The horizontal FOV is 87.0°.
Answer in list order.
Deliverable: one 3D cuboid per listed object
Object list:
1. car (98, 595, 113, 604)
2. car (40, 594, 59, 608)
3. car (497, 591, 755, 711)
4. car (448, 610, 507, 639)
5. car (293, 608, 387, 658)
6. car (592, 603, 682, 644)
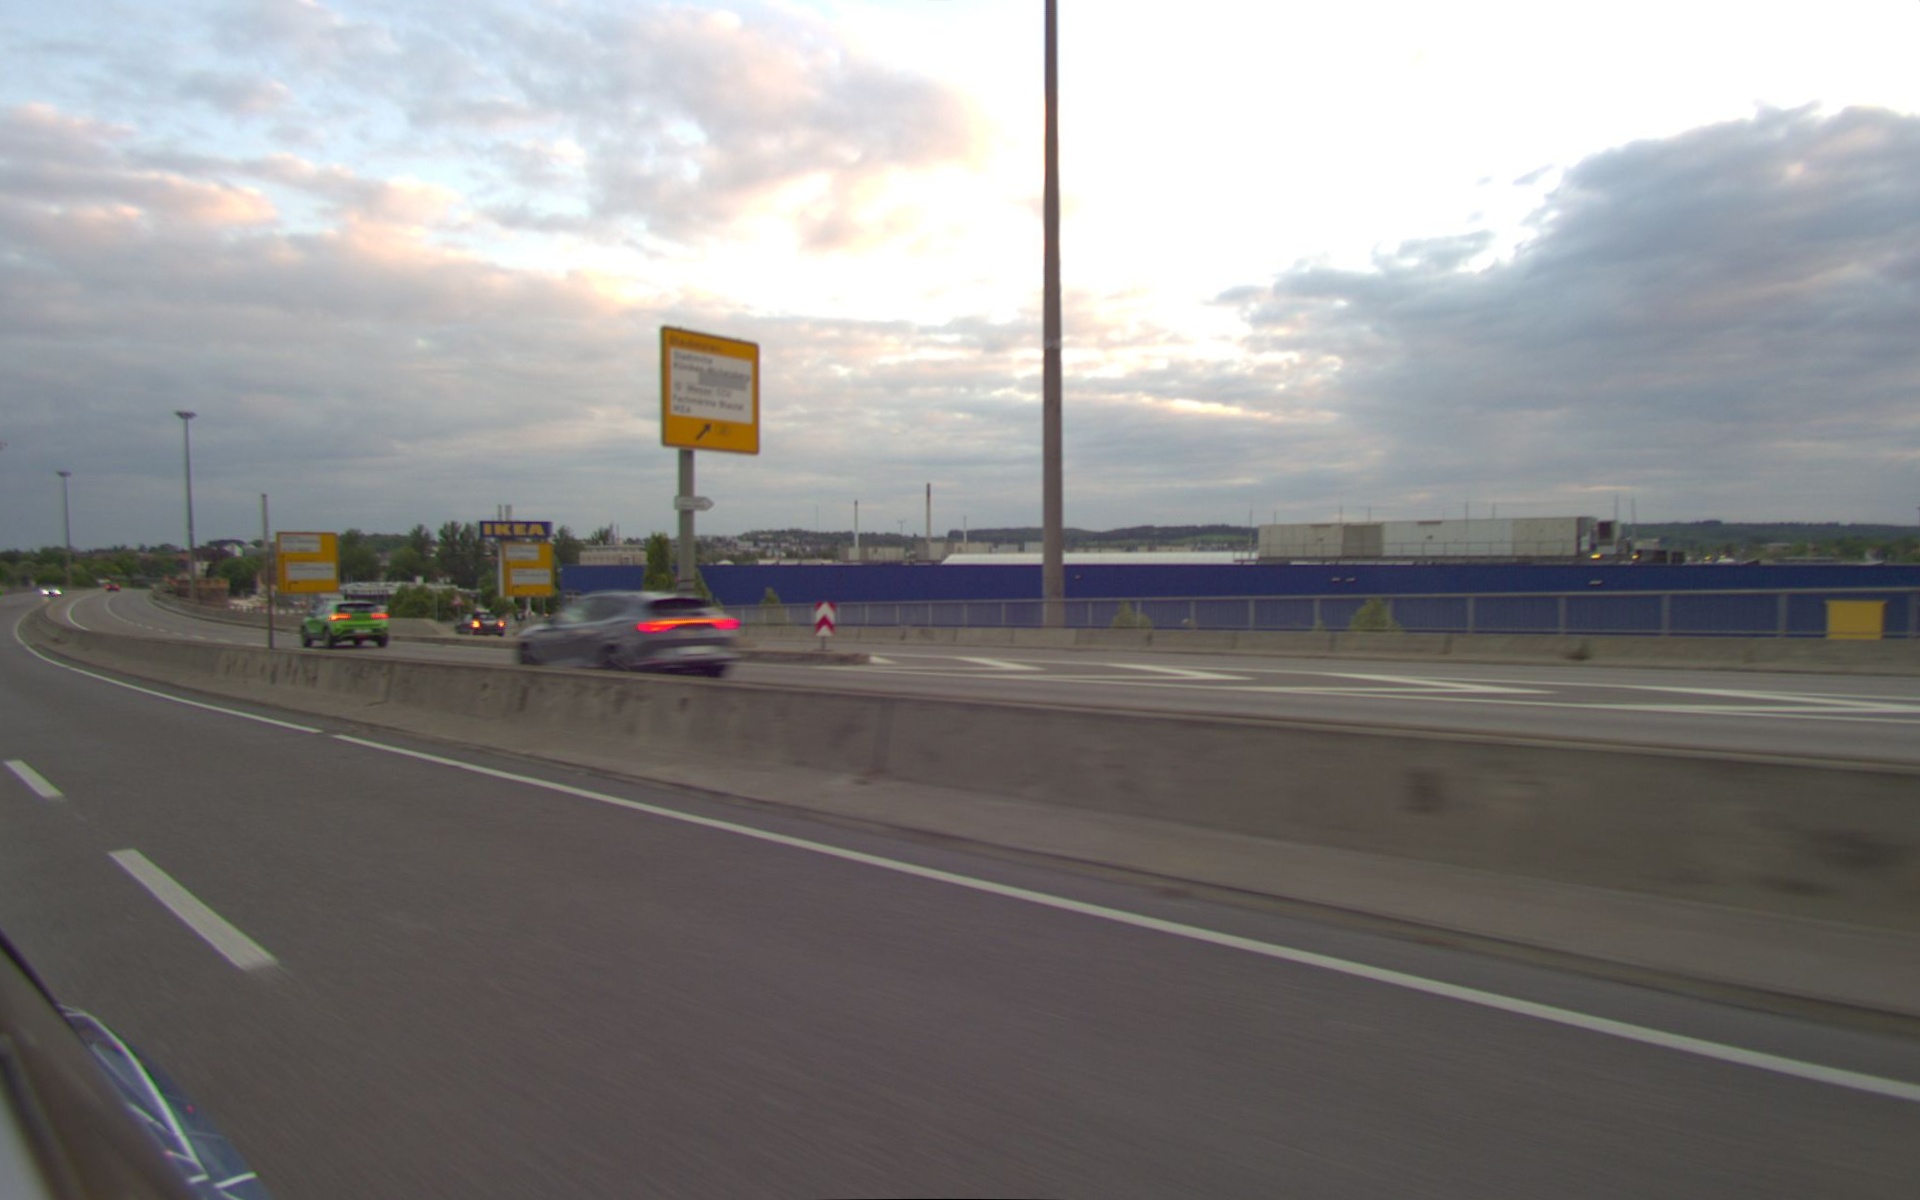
[{"bbox_3d":[-154.105,-0.177,182.530,1.806,1.491,4.295,-1,2,-39],"label":"car"},{"bbox_3d":[-138.379,0.114,153.822,1.968,2.029,4.007,-1,1,-39],"label":"car"},{"bbox_3d":[-5.338,0.671,15.865,4.544,1.545,1.792,1,2,41],"label":"car"},{"bbox_3d":[-26.536,1.333,55.588,1.775,1.497,3.844,-1,0,-44],"label":"car"},{"bbox_3d":[-20.601,1.047,33.580,4.081,1.505,1.692,0,0,44],"label":"car"},{"bbox_3d":[-13.572,0.961,42.397,1.876,1.608,4.165,-1,0,-45],"label":"car"}]
